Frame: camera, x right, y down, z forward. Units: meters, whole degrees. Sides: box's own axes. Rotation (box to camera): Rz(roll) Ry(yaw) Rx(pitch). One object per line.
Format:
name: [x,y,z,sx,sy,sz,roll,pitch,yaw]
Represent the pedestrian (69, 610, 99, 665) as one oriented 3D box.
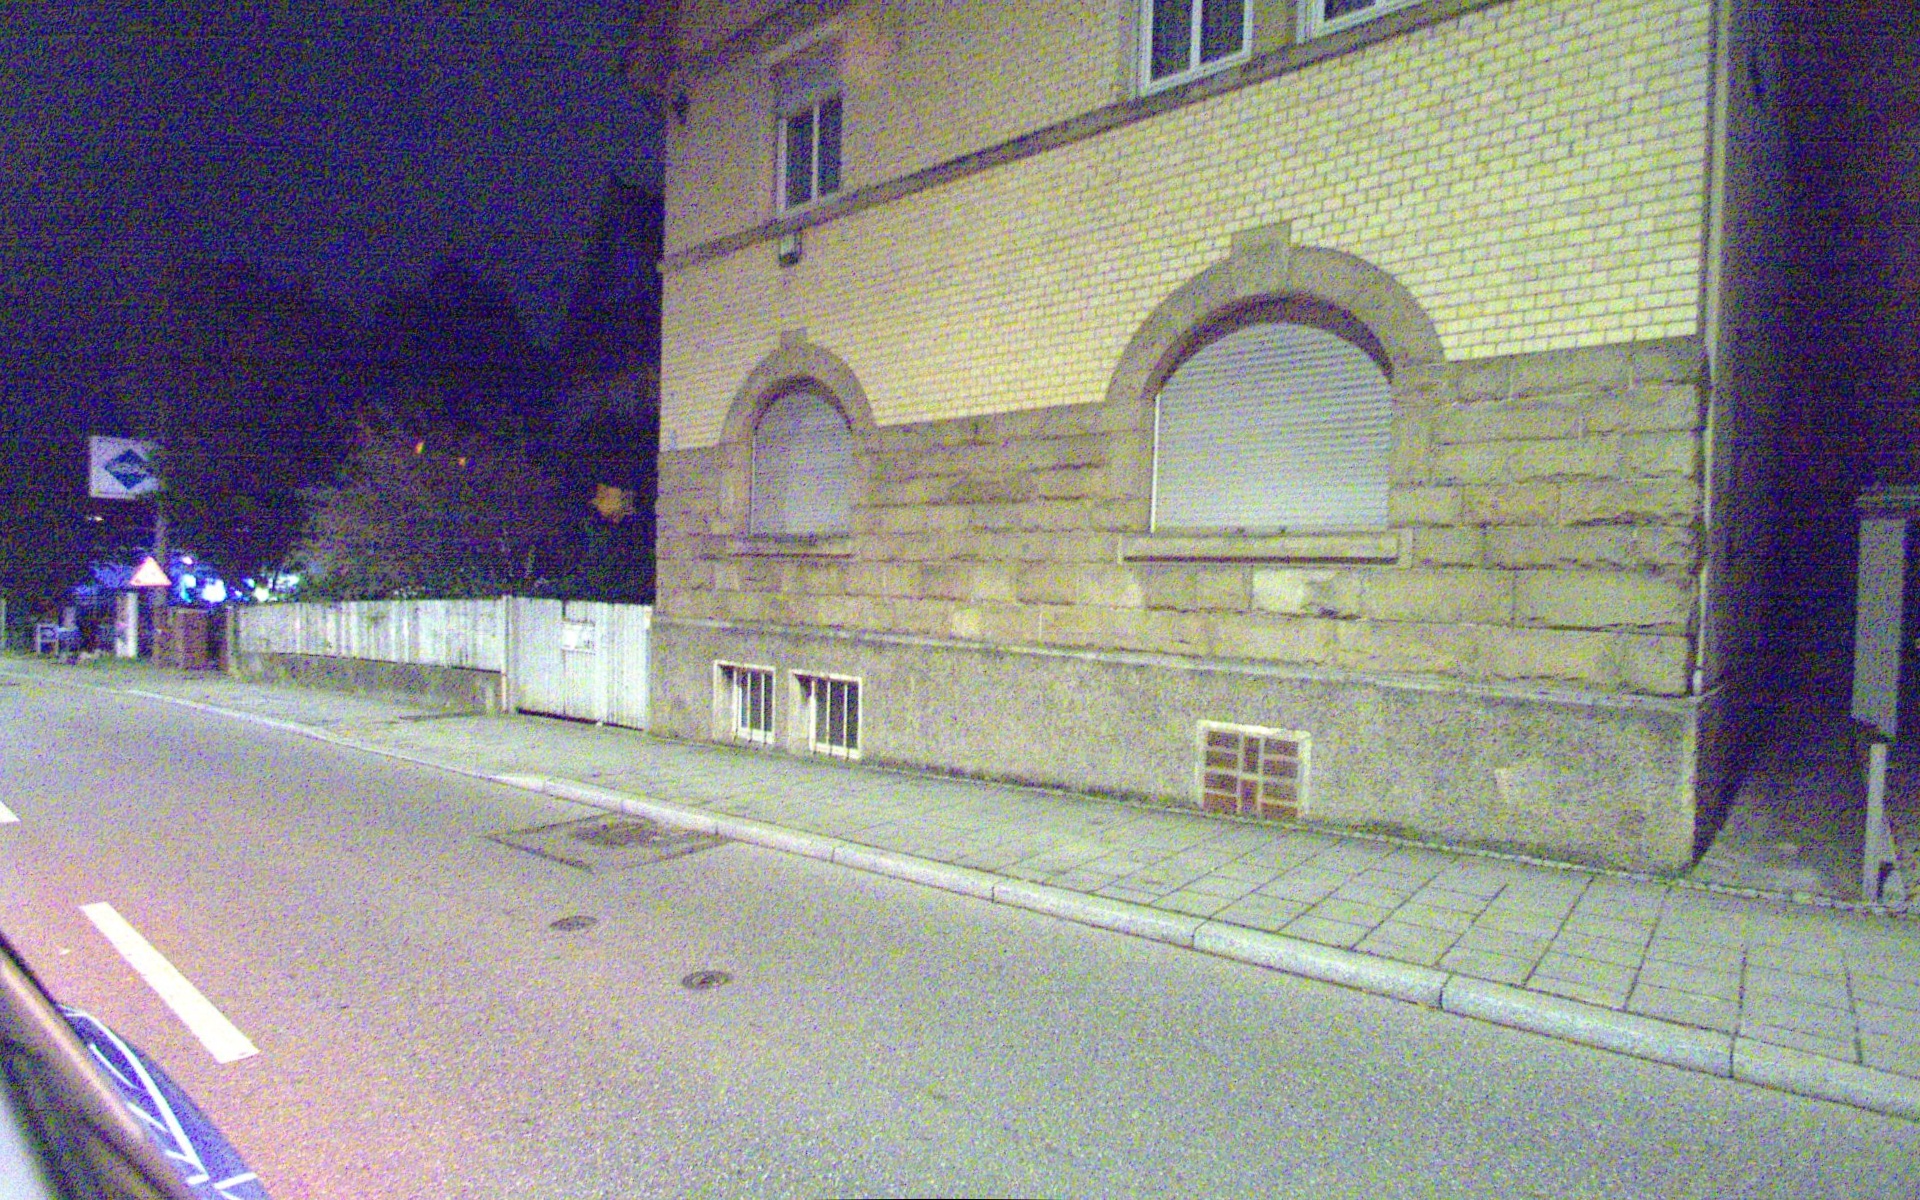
pedestrian: [-28.872,1.224,33.361,0.500,1.773,0.664,-1,0,41]
